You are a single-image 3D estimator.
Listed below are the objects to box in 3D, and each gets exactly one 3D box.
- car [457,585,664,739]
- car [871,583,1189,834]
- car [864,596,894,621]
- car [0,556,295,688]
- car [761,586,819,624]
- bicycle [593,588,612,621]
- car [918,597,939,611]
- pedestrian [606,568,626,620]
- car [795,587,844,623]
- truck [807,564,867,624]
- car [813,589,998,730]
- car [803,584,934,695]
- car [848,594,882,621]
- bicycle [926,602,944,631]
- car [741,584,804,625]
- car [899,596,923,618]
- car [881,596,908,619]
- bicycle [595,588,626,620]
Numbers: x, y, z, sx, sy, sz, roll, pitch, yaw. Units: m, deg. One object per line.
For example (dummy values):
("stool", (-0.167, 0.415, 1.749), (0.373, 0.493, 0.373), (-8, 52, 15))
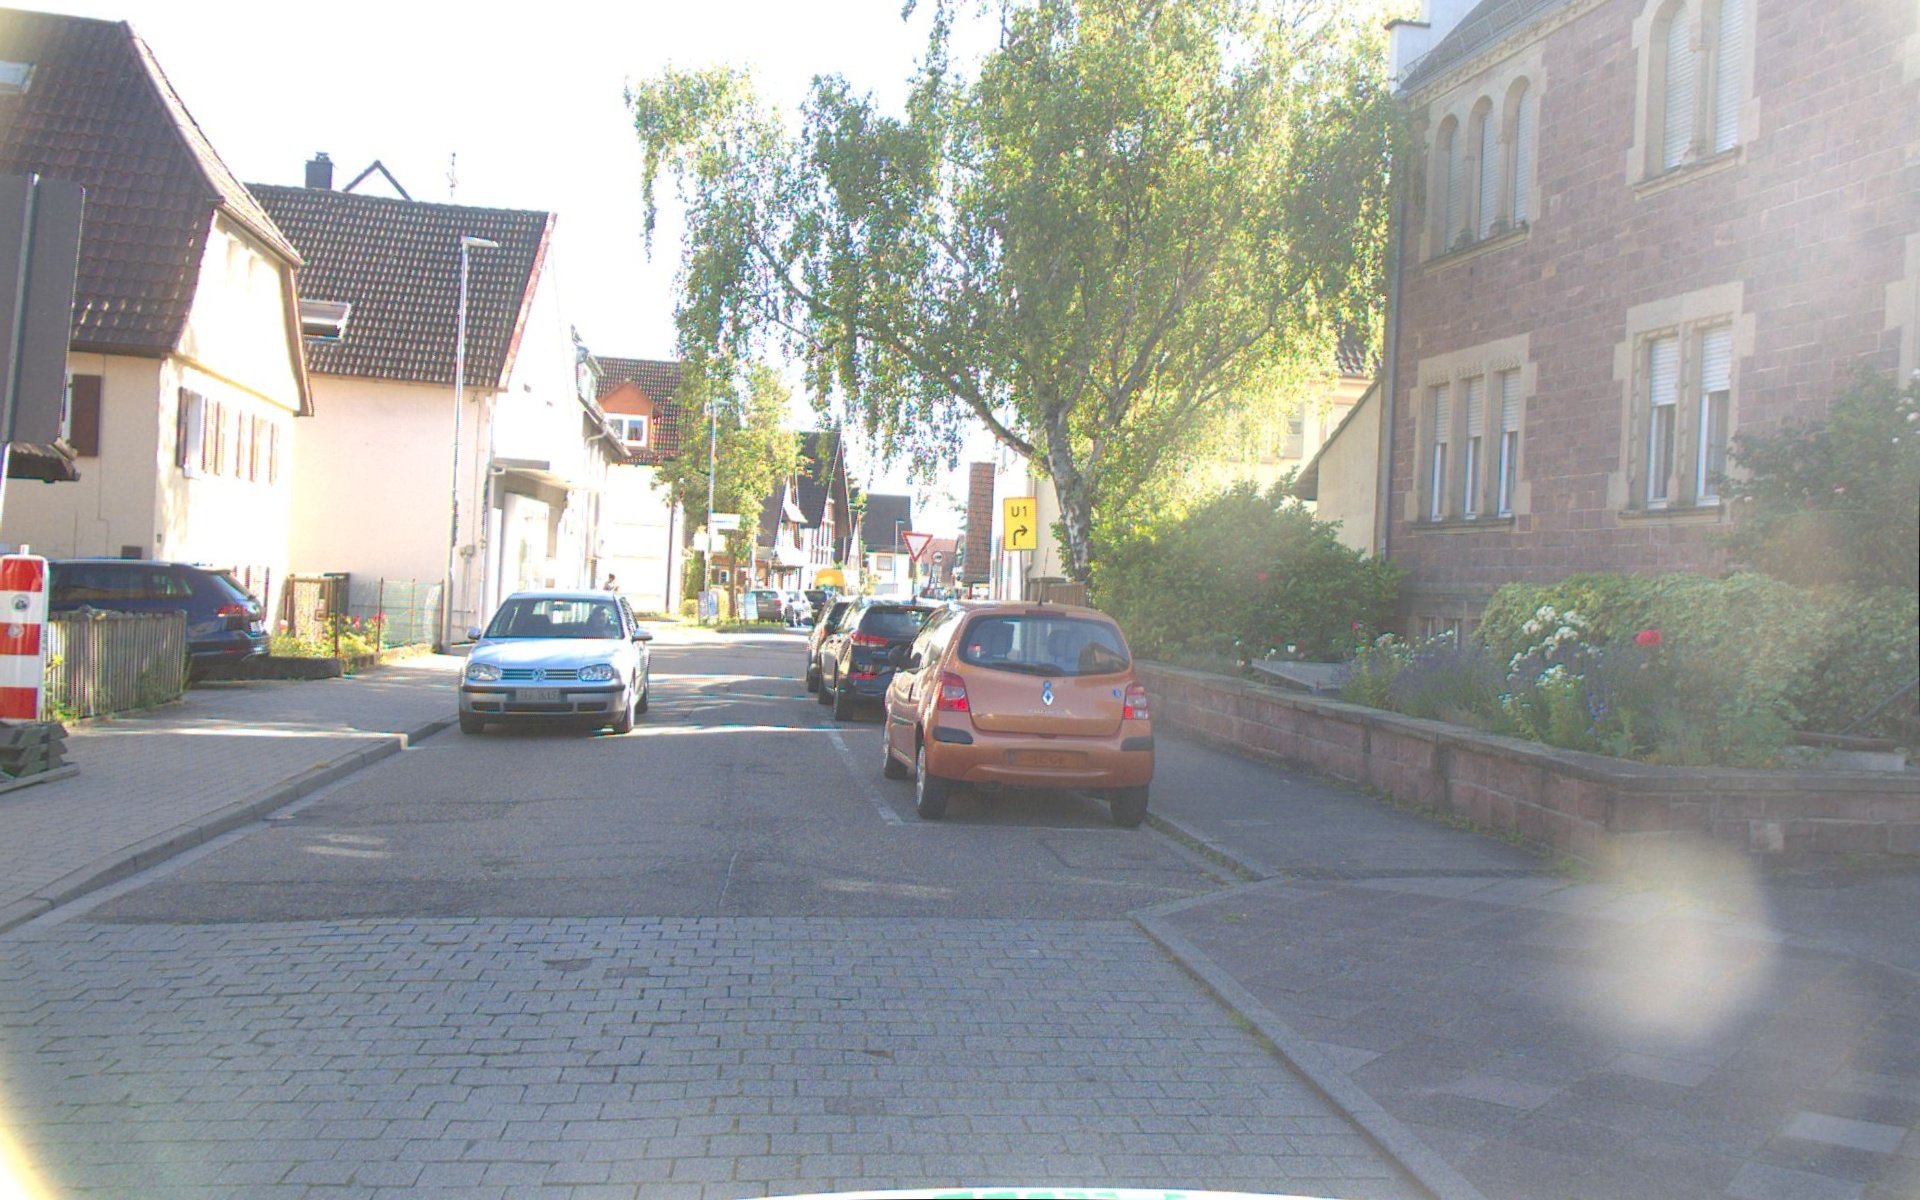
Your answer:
("car", (-4.156, 0.577, 17.718), (1.639, 1.427, 3.887), (2, 0, -7))
("car", (0.356, 0.686, 12.548), (1.618, 1.504, 3.926), (3, 1, -9))
("car", (-4.928, 0.521, 100.764), (1.555, 1.359, 3.615), (3, 0, 1))
("car", (-10.262, 0.233, 19.652), (4.085, 1.487, 1.843), (0, 1, -12))
("car", (-7.436, 0.237, 72.663), (1.769, 1.532, 4.109), (3, -1, 4))
("bicycle", (-12.065, 0.148, 55.859), (0.415, 1.071, 1.380), (3, -1, -5))
("car", (-3.843, 0.468, 202.181), (1.938, 1.610, 3.985), (3, 0, -11))
("pedestrian", (-11.653, -0.185, 56.062), (0.473, 1.722, 0.556), (3, -2, -1))
("car", (-6.889, 0.278, 81.585), (1.769, 1.650, 3.882), (3, -1, 4))
("truck", (-6.447, -0.267, 87.180), (2.221, 2.918, 5.785), (3, -1, 4))
("car", (-0.800, 0.667, 20.914), (1.774, 1.461, 4.277), (3, 1, -9))
("car", (-1.469, 0.546, 25.589), (1.772, 1.461, 4.281), (3, 1, -5))
("car", (-5.506, 0.457, 96.146), (1.612, 1.457, 3.615), (3, 0, 1))
("bicycle", (-1.054, 0.694, 69.951), (0.424, 1.197, 1.830), (3, 0, 7))
("car", (-7.696, 0.213, 68.276), (1.828, 1.532, 4.109), (3, -1, 4))
("car", (-3.586, 0.505, 121.308), (1.555, 1.468, 3.615), (3, 0, 1))
("car", (-4.322, 0.494, 109.398), (1.555, 1.468, 3.615), (3, 0, 1))
("bicycle", (-12.510, 0.161, 59.244), (0.566, 1.071, 2.036), (2, -1, 2))
